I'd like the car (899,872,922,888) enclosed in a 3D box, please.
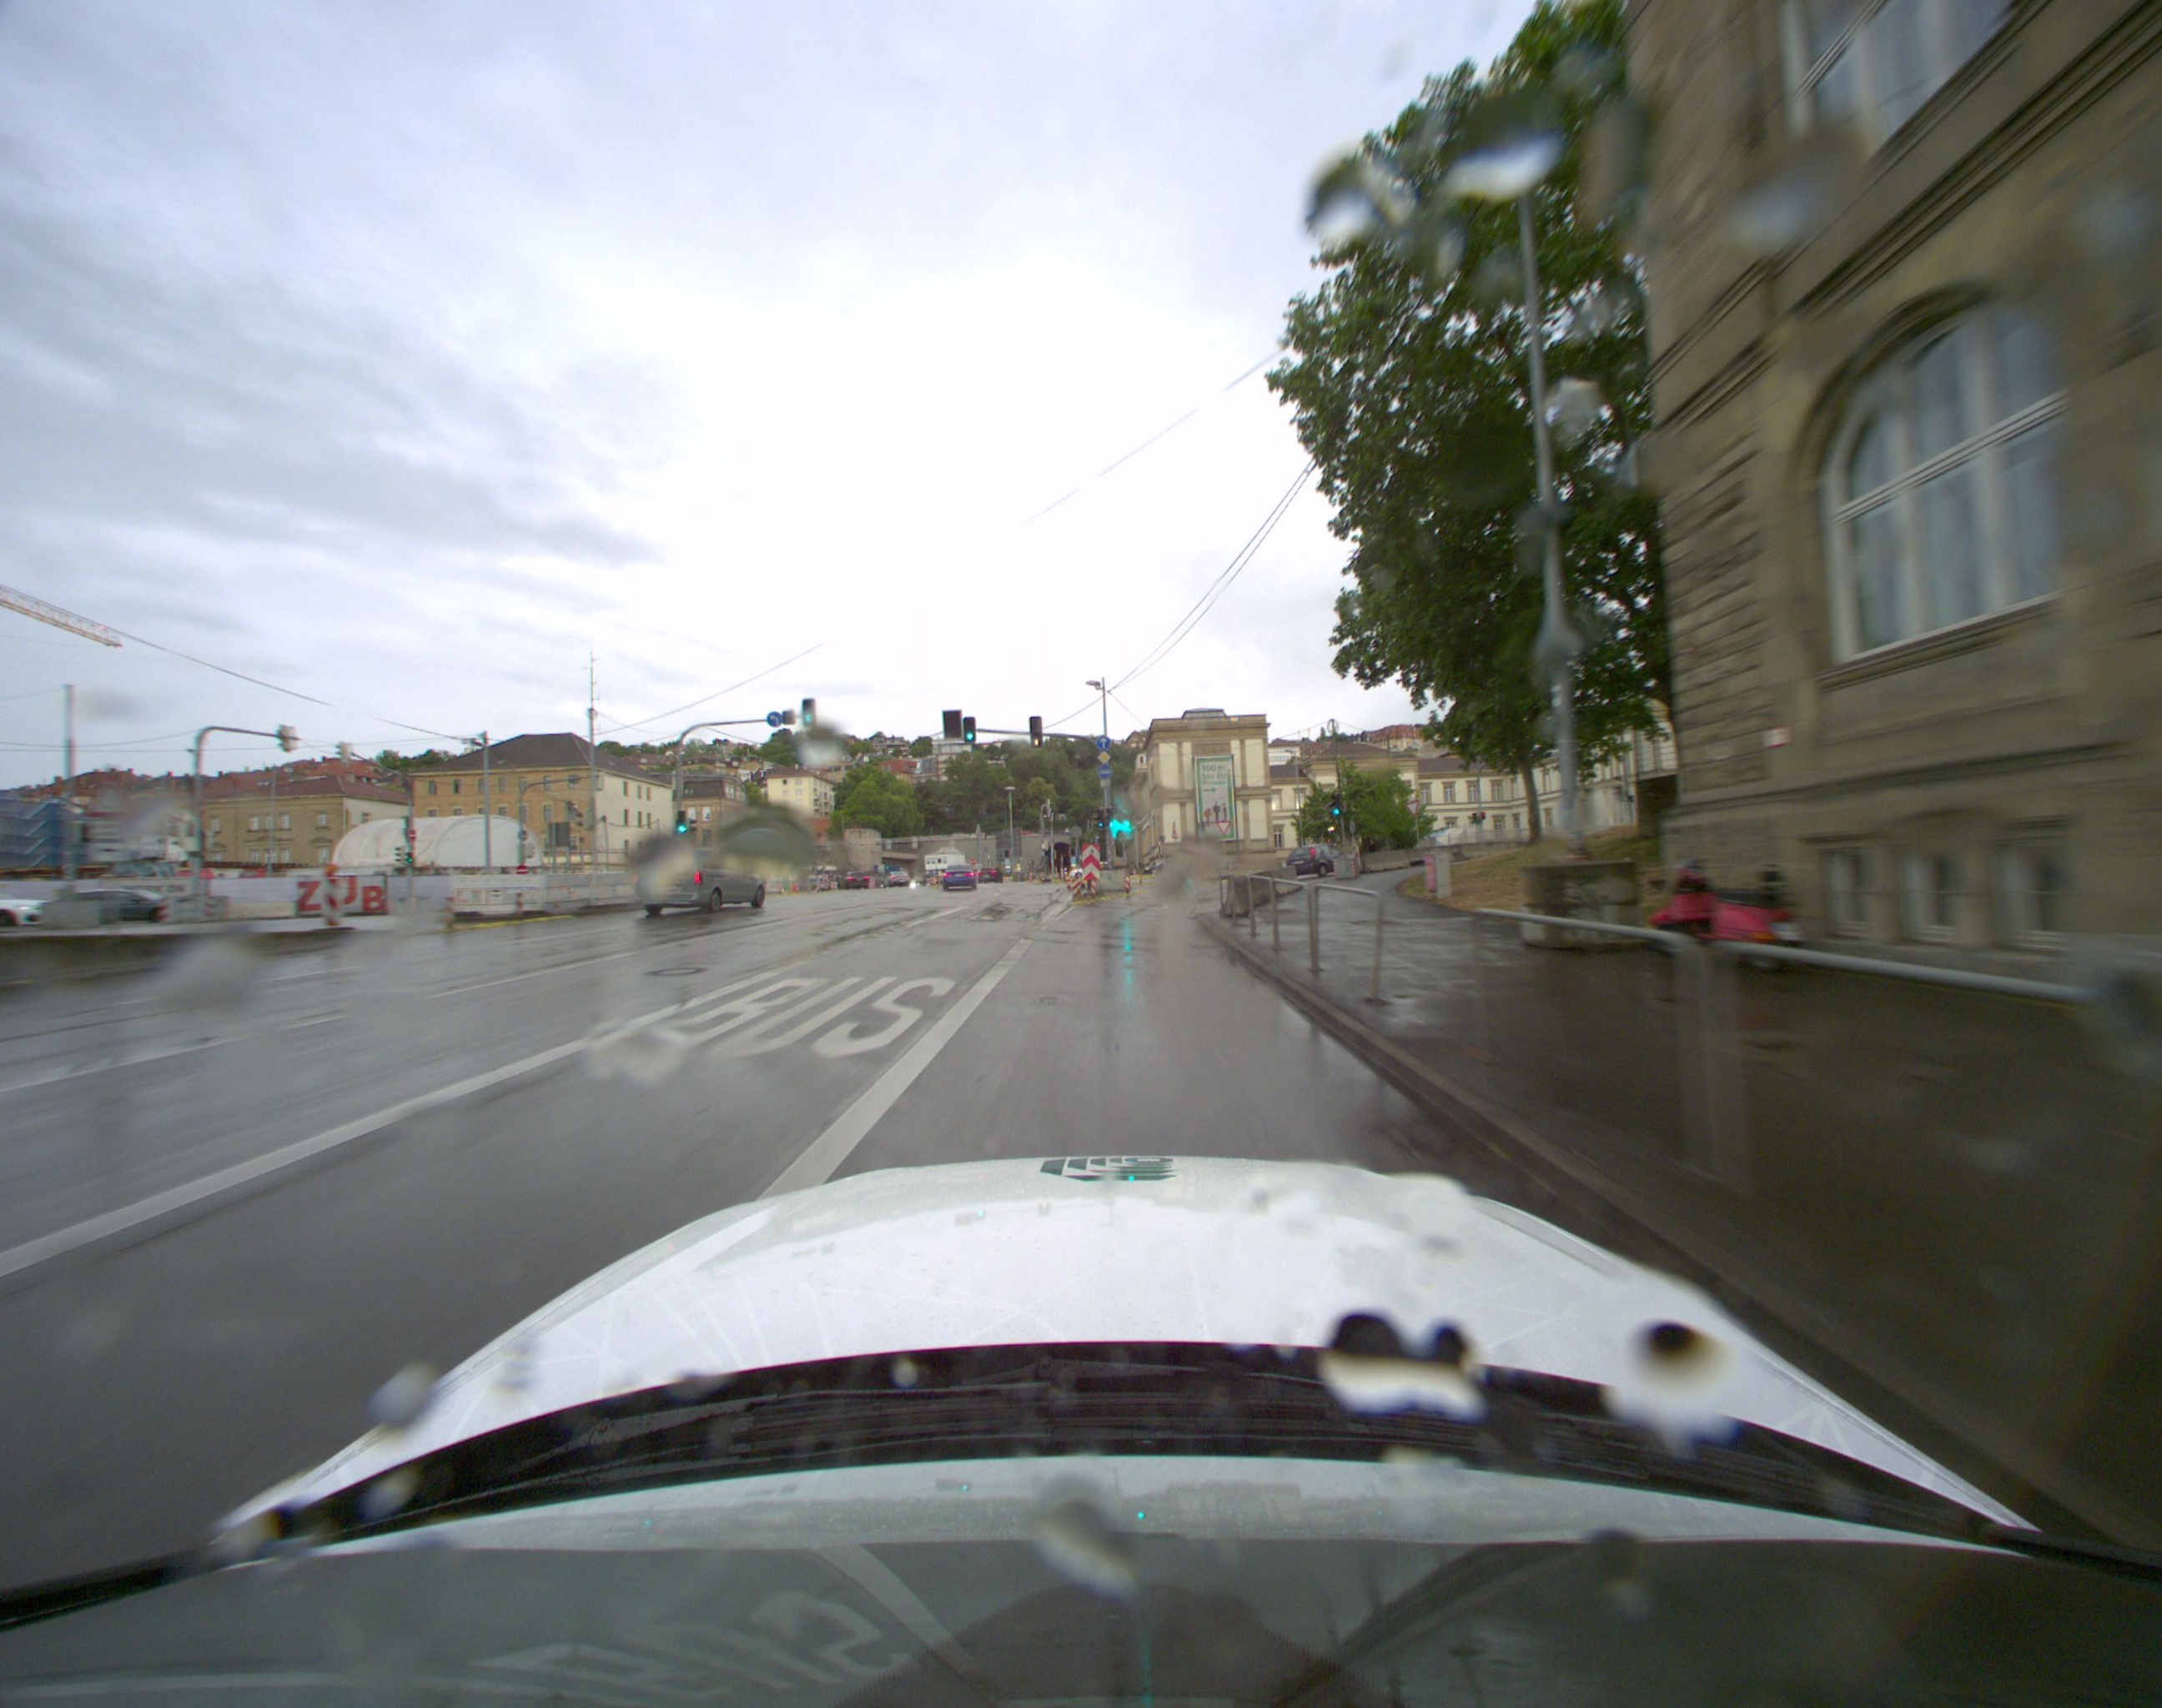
[{"bbox_3d":[-23.296,3.525,111.447,1.984,2.013,4.006,-1,0,5],"label":"car"}]

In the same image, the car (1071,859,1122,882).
[{"bbox_3d":[1.420,1.517,75.317,4.616,2.013,1.998,-1,0,-3],"label":"car"}]

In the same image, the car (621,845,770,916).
[{"bbox_3d":[-11.162,0.722,24.035,1.986,1.839,4.685,-2,-1,2],"label":"car"}]

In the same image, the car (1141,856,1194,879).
[{"bbox_3d":[7.996,1.235,75.788,4.664,2.013,1.998,-1,0,-3],"label":"car"}]

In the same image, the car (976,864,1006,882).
[{"bbox_3d":[-8.509,1.755,77.159,1.983,1.634,4.008,-1,0,7],"label":"car"}]

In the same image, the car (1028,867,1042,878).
[{"bbox_3d":[-6.106,2.427,107.873,1.487,1.354,4.002,-1,0,2],"label":"car"}]

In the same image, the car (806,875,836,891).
[{"bbox_3d":[-26.524,2.936,83.147,1.789,1.464,3.956,-1,0,-35],"label":"car"}]

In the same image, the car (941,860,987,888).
[{"bbox_3d":[-6.505,1.117,45.615,1.988,1.438,3.998,-2,-1,-1],"label":"car"}]

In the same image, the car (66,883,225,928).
[{"bbox_3d":[-38.319,2.075,33.484,3.801,1.566,1.849,-2,0,-19],"label":"car"}]

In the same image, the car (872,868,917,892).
[{"bbox_3d":[-16.586,2.264,72.221,2.011,2.013,4.242,-1,0,-43],"label":"car"}]

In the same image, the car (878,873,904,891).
[{"bbox_3d":[-24.148,3.533,103.387,1.984,2.013,4.006,-1,0,5],"label":"car"}]

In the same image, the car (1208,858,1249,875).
[{"bbox_3d":[16.065,1.313,88.589,4.165,1.701,1.823,-1,0,1],"label":"car"}]

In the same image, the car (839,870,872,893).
[{"bbox_3d":[-18.808,2.279,67.788,1.786,1.750,3.964,-1,0,-28],"label":"car"}]

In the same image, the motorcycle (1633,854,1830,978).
[{"bbox_3d":[6.697,0.578,8.530,0.544,1.138,1.899,-2,0,2],"label":"motorcycle"}]

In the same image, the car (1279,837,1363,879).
[{"bbox_3d":[10.559,0.146,35.740,3.779,1.427,1.655,-7,3,-41],"label":"car"}]

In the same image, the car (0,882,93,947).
[{"bbox_3d":[-36.590,2.079,26.972,4.428,2.013,1.984,-2,0,-23],"label":"car"}]
